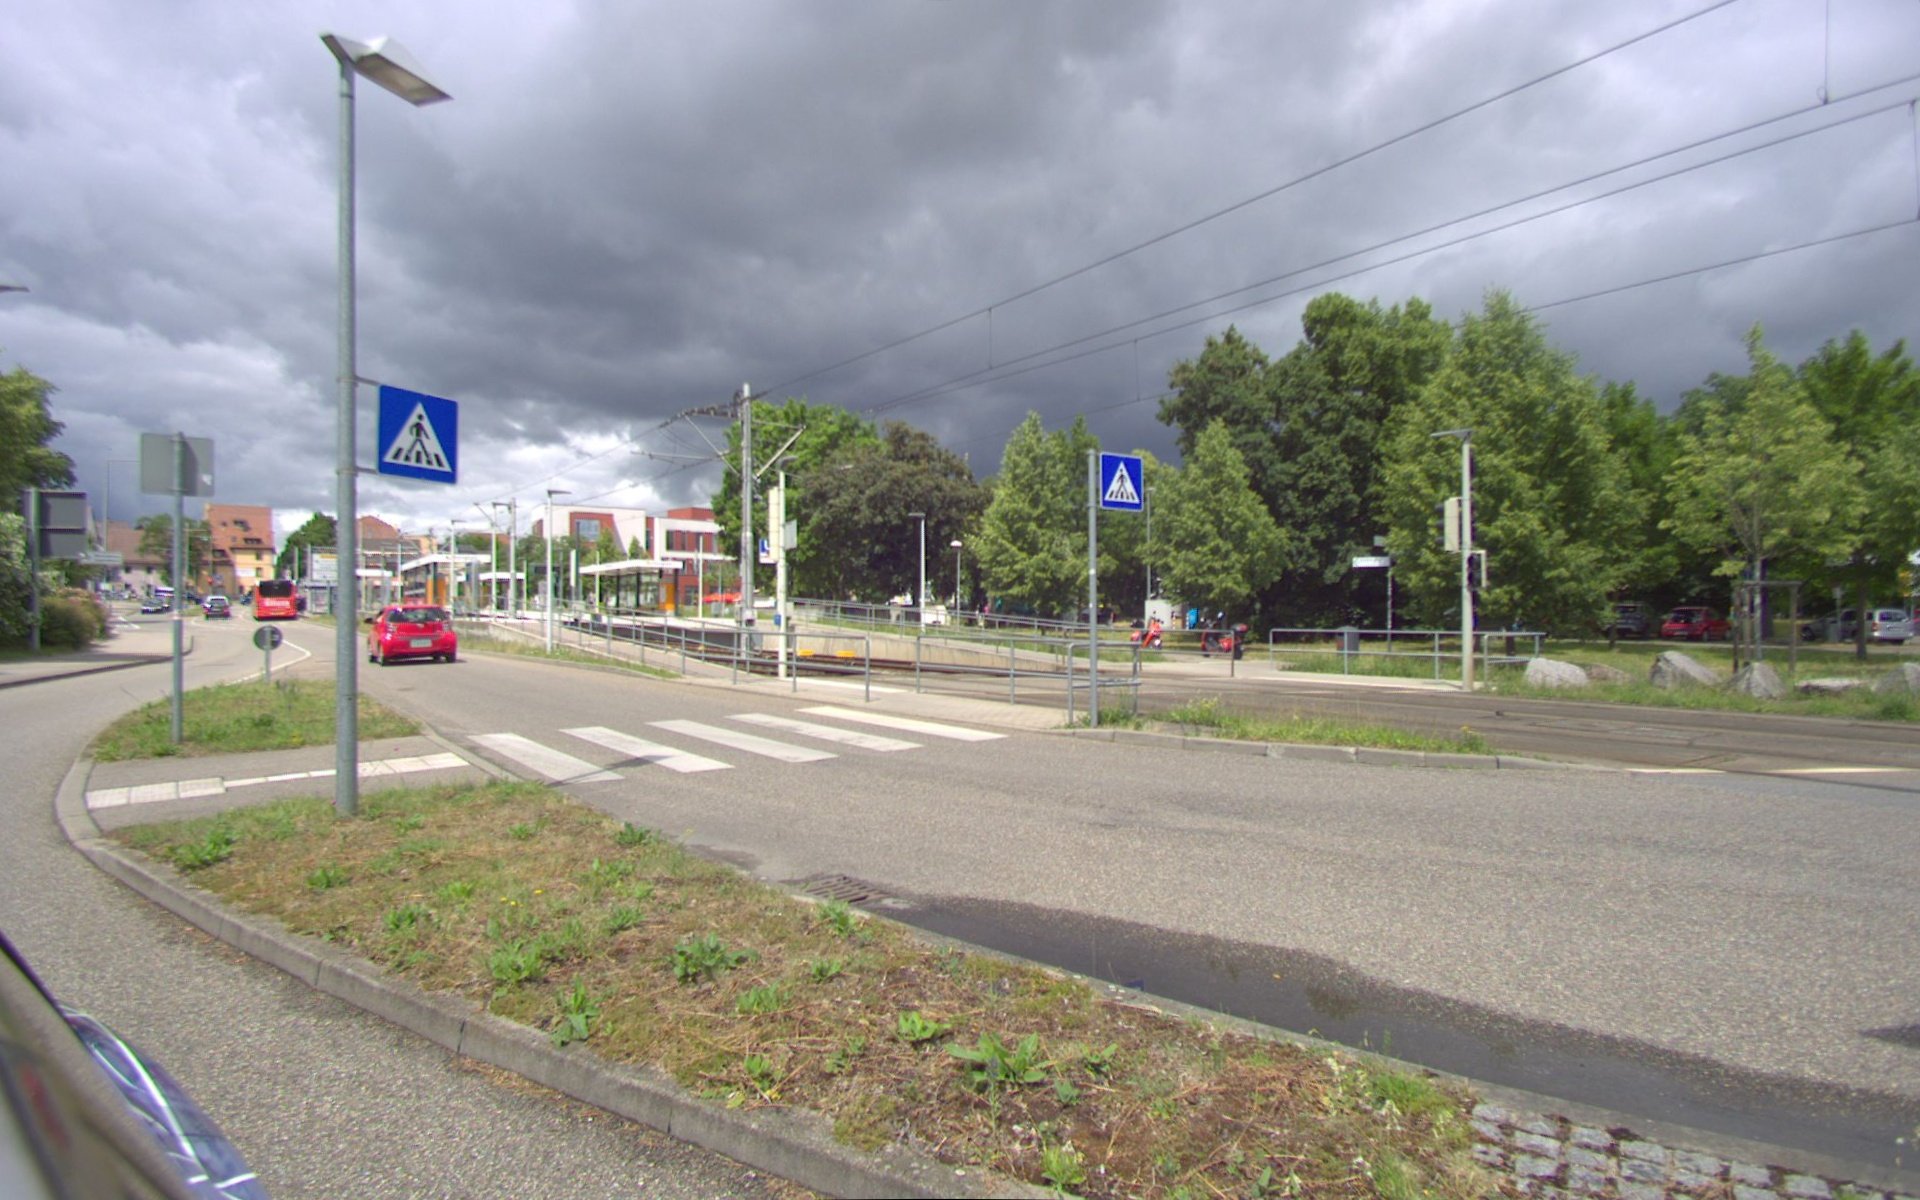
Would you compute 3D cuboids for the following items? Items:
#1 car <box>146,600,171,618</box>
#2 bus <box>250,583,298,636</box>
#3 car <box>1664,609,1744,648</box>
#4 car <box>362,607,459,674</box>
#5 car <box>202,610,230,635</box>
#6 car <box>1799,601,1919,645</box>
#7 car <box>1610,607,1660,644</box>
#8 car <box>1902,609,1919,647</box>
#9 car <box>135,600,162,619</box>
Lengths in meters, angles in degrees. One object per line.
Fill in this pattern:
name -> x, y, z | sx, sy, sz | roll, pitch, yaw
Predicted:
car -> -85.113, 0.976, 107.544 | 1.967, 1.874, 4.009 | 1, -2, -37
bus -> -53.680, 0.822, 79.082 | 2.877, 3.916, 10.404 | 1, -2, -35
car -> 32.261, 1.249, 43.865 | 3.558, 1.602, 1.633 | 2, -2, -33
car -> -13.913, 0.965, 25.549 | 1.711, 1.521, 3.523 | -1, 0, -36
car -> -60.616, 1.831, 82.444 | 1.821, 1.942, 3.786 | 1, -2, -37
car -> 36.276, 0.930, 40.631 | 1.974, 1.697, 3.995 | 0, -1, 3
car -> 30.542, 1.159, 45.741 | 1.627, 1.602, 3.573 | -1, -3, 38
car -> 41.813, 1.193, 41.914 | 1.966, 1.602, 3.594 | 1, -2, -15
car -> -82.586, 1.016, 103.010 | 1.967, 1.874, 4.009 | 1, -2, -37
